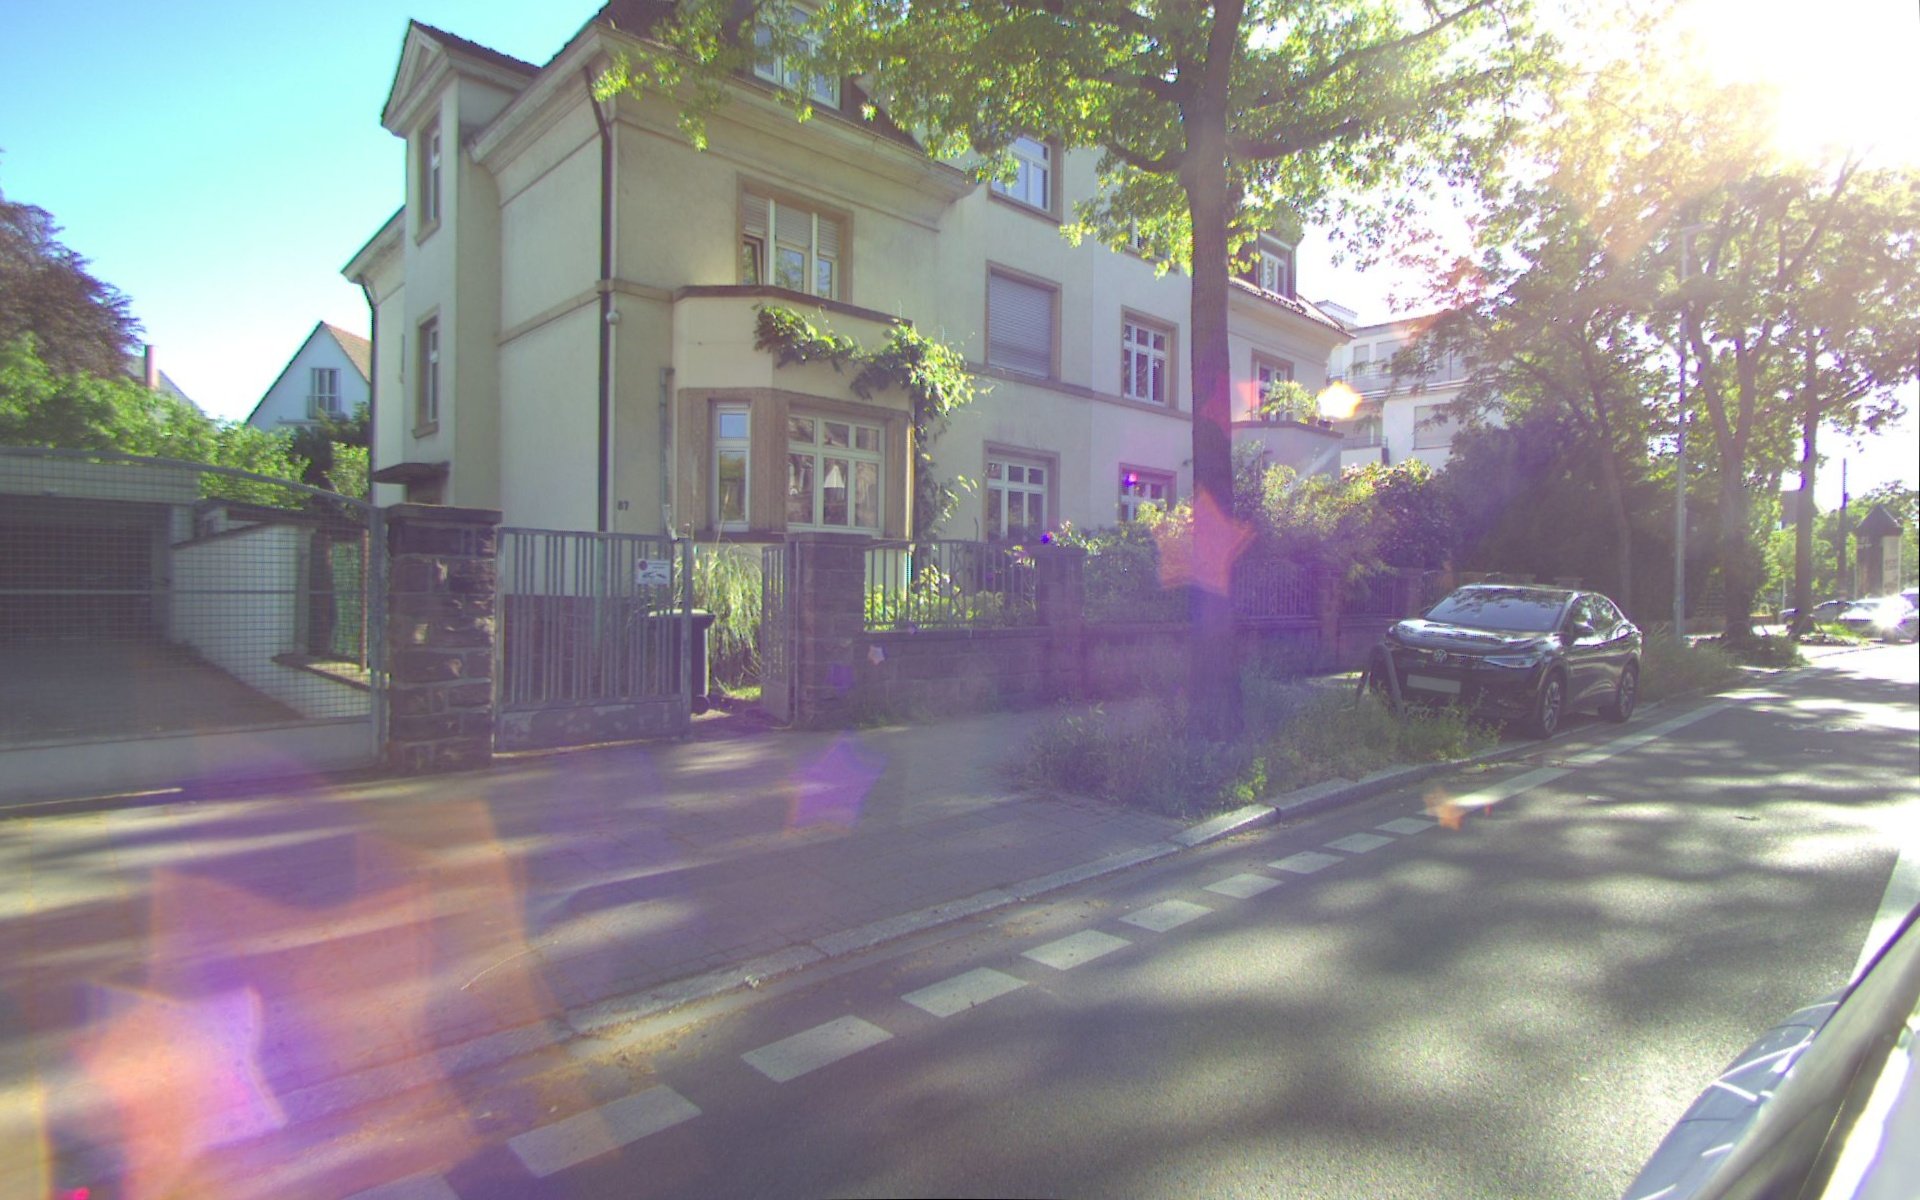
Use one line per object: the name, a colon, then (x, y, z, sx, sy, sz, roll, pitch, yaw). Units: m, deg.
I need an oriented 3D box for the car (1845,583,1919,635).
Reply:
car: (31.505, 0.265, 34.101, 3.927, 1.660, 1.824, 0, 1, -38)

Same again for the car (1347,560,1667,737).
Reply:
car: (6.698, 0.488, 12.196, 4.304, 1.695, 1.997, 1, 2, -42)

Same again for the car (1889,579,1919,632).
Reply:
car: (36.762, 0.200, 38.076, 4.663, 1.919, 2.128, 0, 1, -41)
